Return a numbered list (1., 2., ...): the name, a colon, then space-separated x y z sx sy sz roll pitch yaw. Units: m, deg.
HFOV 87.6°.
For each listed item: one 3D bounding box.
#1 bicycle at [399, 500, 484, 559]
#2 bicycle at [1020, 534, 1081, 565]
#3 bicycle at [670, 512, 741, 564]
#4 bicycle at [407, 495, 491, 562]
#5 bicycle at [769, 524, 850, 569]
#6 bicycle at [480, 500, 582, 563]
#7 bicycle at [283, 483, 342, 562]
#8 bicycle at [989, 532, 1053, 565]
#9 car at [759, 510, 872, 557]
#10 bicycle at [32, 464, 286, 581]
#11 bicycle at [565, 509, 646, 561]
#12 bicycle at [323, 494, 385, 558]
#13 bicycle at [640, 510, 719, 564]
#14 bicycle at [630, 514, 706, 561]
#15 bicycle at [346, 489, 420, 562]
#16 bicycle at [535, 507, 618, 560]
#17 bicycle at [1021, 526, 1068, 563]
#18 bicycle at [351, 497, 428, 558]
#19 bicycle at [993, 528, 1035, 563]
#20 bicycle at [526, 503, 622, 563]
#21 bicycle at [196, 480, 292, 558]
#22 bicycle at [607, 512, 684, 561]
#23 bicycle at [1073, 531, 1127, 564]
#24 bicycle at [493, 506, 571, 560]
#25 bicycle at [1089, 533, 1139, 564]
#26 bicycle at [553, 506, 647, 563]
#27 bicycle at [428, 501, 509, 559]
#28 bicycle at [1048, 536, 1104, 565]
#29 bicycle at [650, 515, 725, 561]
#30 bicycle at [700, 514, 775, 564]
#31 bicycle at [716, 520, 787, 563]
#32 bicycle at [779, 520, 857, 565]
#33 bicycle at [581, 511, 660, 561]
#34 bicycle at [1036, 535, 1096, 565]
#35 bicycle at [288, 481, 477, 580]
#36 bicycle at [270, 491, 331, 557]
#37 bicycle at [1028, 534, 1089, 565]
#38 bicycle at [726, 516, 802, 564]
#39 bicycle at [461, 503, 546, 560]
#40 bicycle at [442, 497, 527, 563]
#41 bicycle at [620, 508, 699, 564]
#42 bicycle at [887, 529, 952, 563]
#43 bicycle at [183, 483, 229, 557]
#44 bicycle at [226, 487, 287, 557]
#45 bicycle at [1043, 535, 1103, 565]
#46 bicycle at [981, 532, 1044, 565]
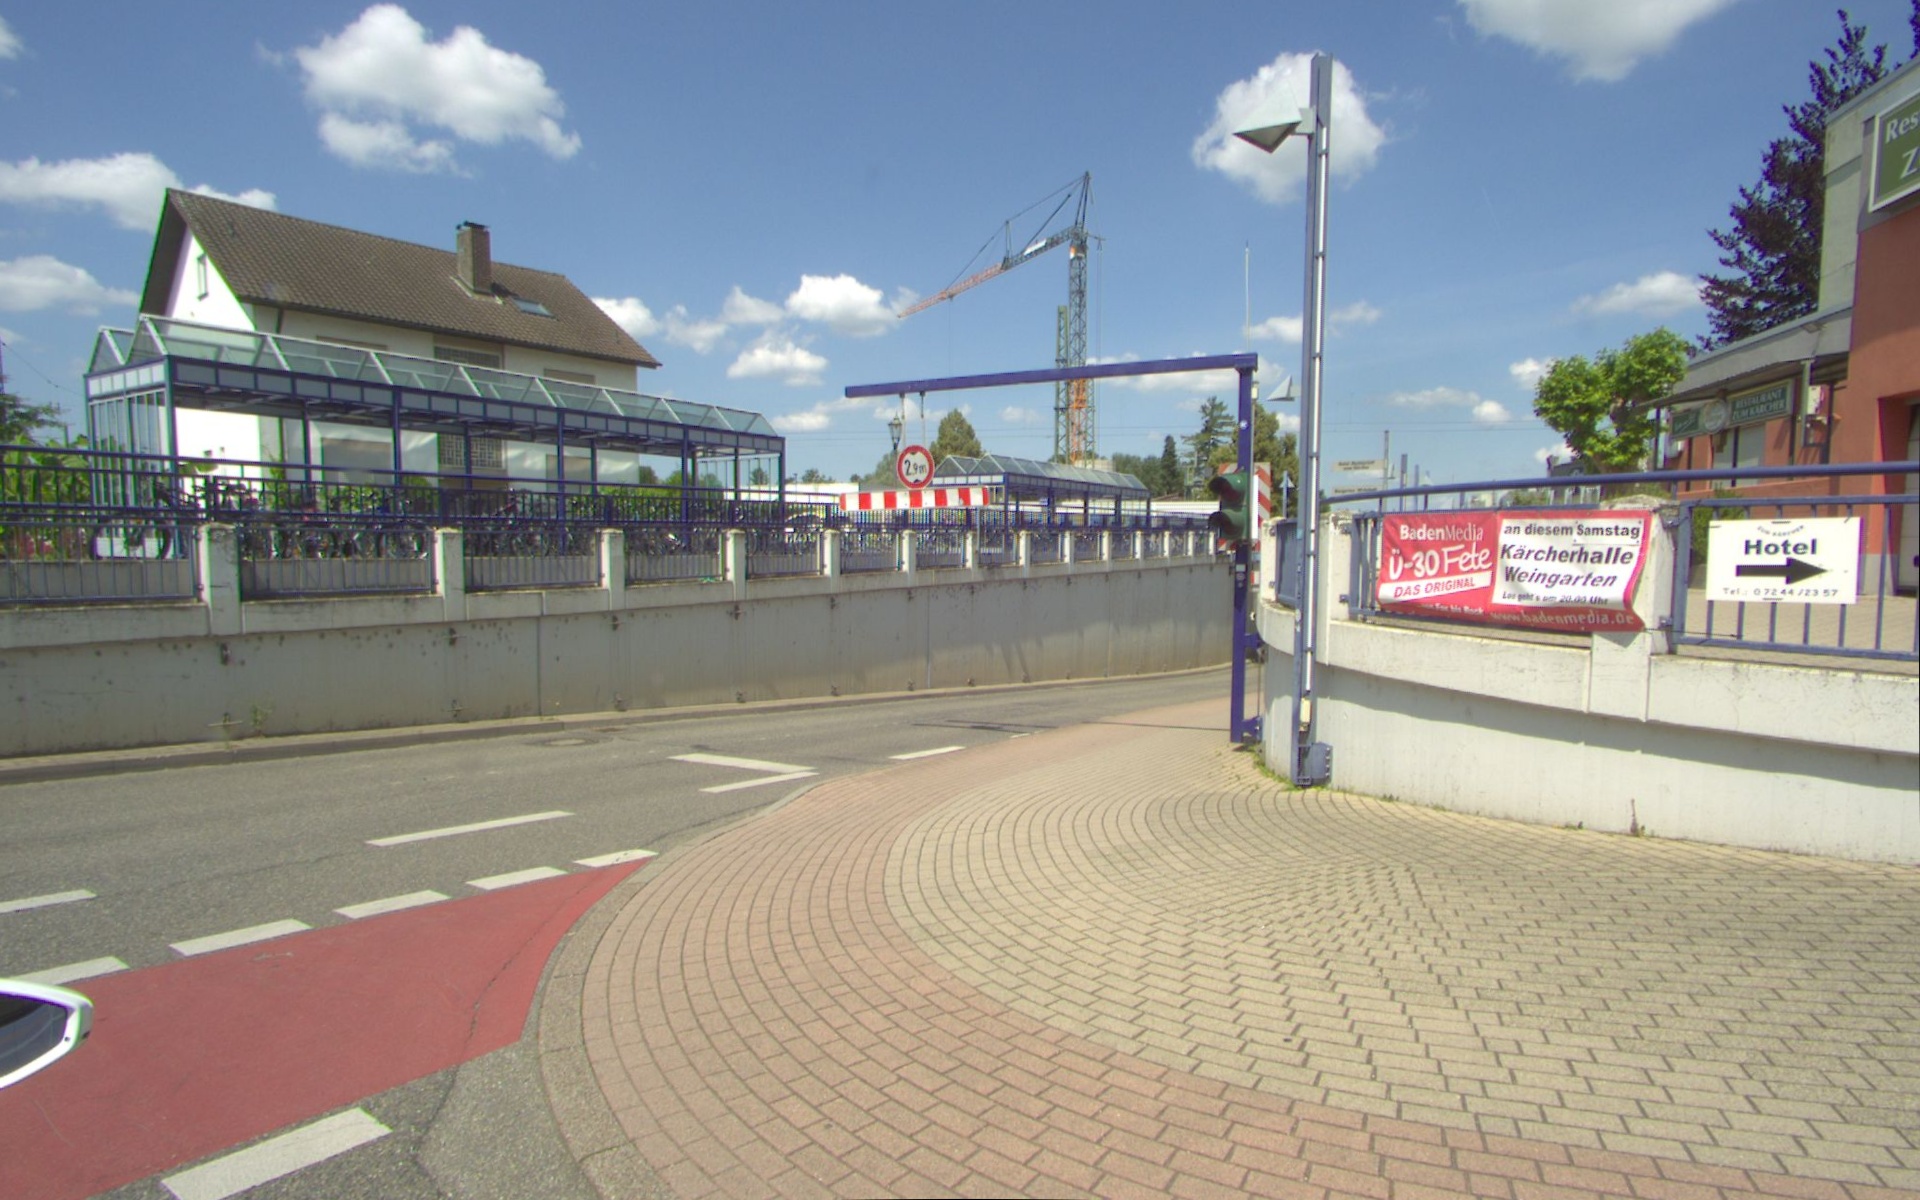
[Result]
1. bicycle: -9.260 -1.252 17.871 1.938 1.009 0.472 3 3 34
2. bicycle: 2.991 -1.682 33.203 1.995 1.009 0.509 2 3 31
3. bicycle: -5.244 -1.262 20.529 0.512 1.009 2.018 -2 4 -43
4. bicycle: -8.154 -1.122 15.930 2.254 1.009 0.433 3 4 42
5. bicycle: -3.543 -1.254 23.473 2.131 1.009 0.435 3 3 33
6. bicycle: -7.297 -1.150 16.972 2.250 1.009 0.530 3 3 36
7. bicycle: -9.037 -1.055 13.937 0.432 1.009 2.083 -2 3 -40
8. bicycle: 1.930 -1.645 31.874 1.995 1.009 0.509 2 3 31
9. car: -5.568 -2.530 38.587 3.939 1.701 1.990 2 3 30
10. bicycle: -8.453 -0.781 10.704 0.328 1.141 2.109 3 3 32
11. bicycle: -7.296 -1.331 20.577 1.938 1.009 0.517 3 3 34
12. bicycle: -10.083 -1.215 16.637 1.943 1.009 0.370 3 4 43
13. bicycle: -5.604 -1.244 19.927 2.015 1.009 0.513 3 4 42
14. bicycle: -6.469 -1.381 22.144 1.938 1.009 0.517 3 3 34
15. bicycle: -8.593 -1.086 14.876 0.432 1.009 2.080 -2 4 -44
16. bicycle: -7.642 -1.310 19.925 1.938 1.009 0.517 3 3 34
17. bicycle: 2.719 -1.790 32.387 1.582 1.174 0.426 3 4 42
18. bicycle: -9.843 -1.236 17.250 1.939 1.009 0.424 3 4 37
19. bicycle: 1.913 -1.924 35.357 1.582 1.174 0.383 3 4 42
20. bicycle: -6.909 -1.181 17.889 2.158 1.009 0.530 3 3 36
21. bicycle: -9.772 -1.088 13.636 2.046 1.009 0.331 3 3 33
22. bicycle: -6.820 -1.368 21.673 1.938 1.009 0.517 3 3 34
23. bicycle: 5.113 -1.922 36.564 1.894 1.174 0.509 2 3 32
24. bicycle: -8.335 -1.303 19.496 1.776 1.009 0.517 3 3 34
25. bicycle: 5.874 -1.976 38.194 1.796 1.174 0.509 3 3 32
26. bicycle: -6.706 -1.207 18.588 2.158 1.009 0.530 3 3 36
27. bicycle: -8.983 -1.263 18.259 1.938 1.009 0.412 3 3 34
28. bicycle: 4.056 -1.743 35.134 1.894 1.009 0.509 2 3 31
29. bicycle: -6.163 -1.395 22.601 1.938 1.009 0.517 3 3 34
30. bicycle: -4.702 -1.275 21.049 2.016 1.009 0.512 3 4 44
31. bicycle: -5.024 -1.402 24.057 2.014 1.009 0.541 3 4 40
32. bicycle: -3.344 -1.350 23.445 2.012 1.009 0.541 3 3 38
33. bicycle: -7.194 -1.354 21.189 1.938 1.009 0.517 3 3 34
34. bicycle: 3.591 -1.711 34.161 1.995 1.009 0.509 2 3 31
35. bicycle: -7.215 -0.840 12.645 0.387 1.141 2.109 3 3 32
36. bicycle: -10.655 -1.204 16.151 1.943 1.009 0.370 3 4 43
37. bicycle: 3.302 -1.697 33.710 1.995 1.009 0.509 2 3 31
38. bicycle: -4.279 -1.296 21.749 2.016 1.009 0.540 3 4 44
39. bicycle: -8.608 -1.282 18.868 1.938 1.009 0.517 3 3 34
40. bicycle: -7.804 -1.135 16.394 2.254 1.009 0.433 3 4 42
41. bicycle: -5.759 -1.213 19.112 0.574 1.009 2.166 -2 4 -42
42. bicycle: -1.241 -1.638 30.457 1.995 1.009 0.509 2 3 31
43. bicycle: -11.046 -1.149 14.653 0.451 1.009 1.871 -2 3 -39
44. bicycle: -10.765 -1.171 15.301 1.943 1.009 0.370 3 4 43
45. bicycle: 3.892 -1.721 34.525 1.995 1.009 0.509 2 3 31
46. bicycle: 1.630 -1.627 31.335 1.995 1.009 0.435 2 3 31
